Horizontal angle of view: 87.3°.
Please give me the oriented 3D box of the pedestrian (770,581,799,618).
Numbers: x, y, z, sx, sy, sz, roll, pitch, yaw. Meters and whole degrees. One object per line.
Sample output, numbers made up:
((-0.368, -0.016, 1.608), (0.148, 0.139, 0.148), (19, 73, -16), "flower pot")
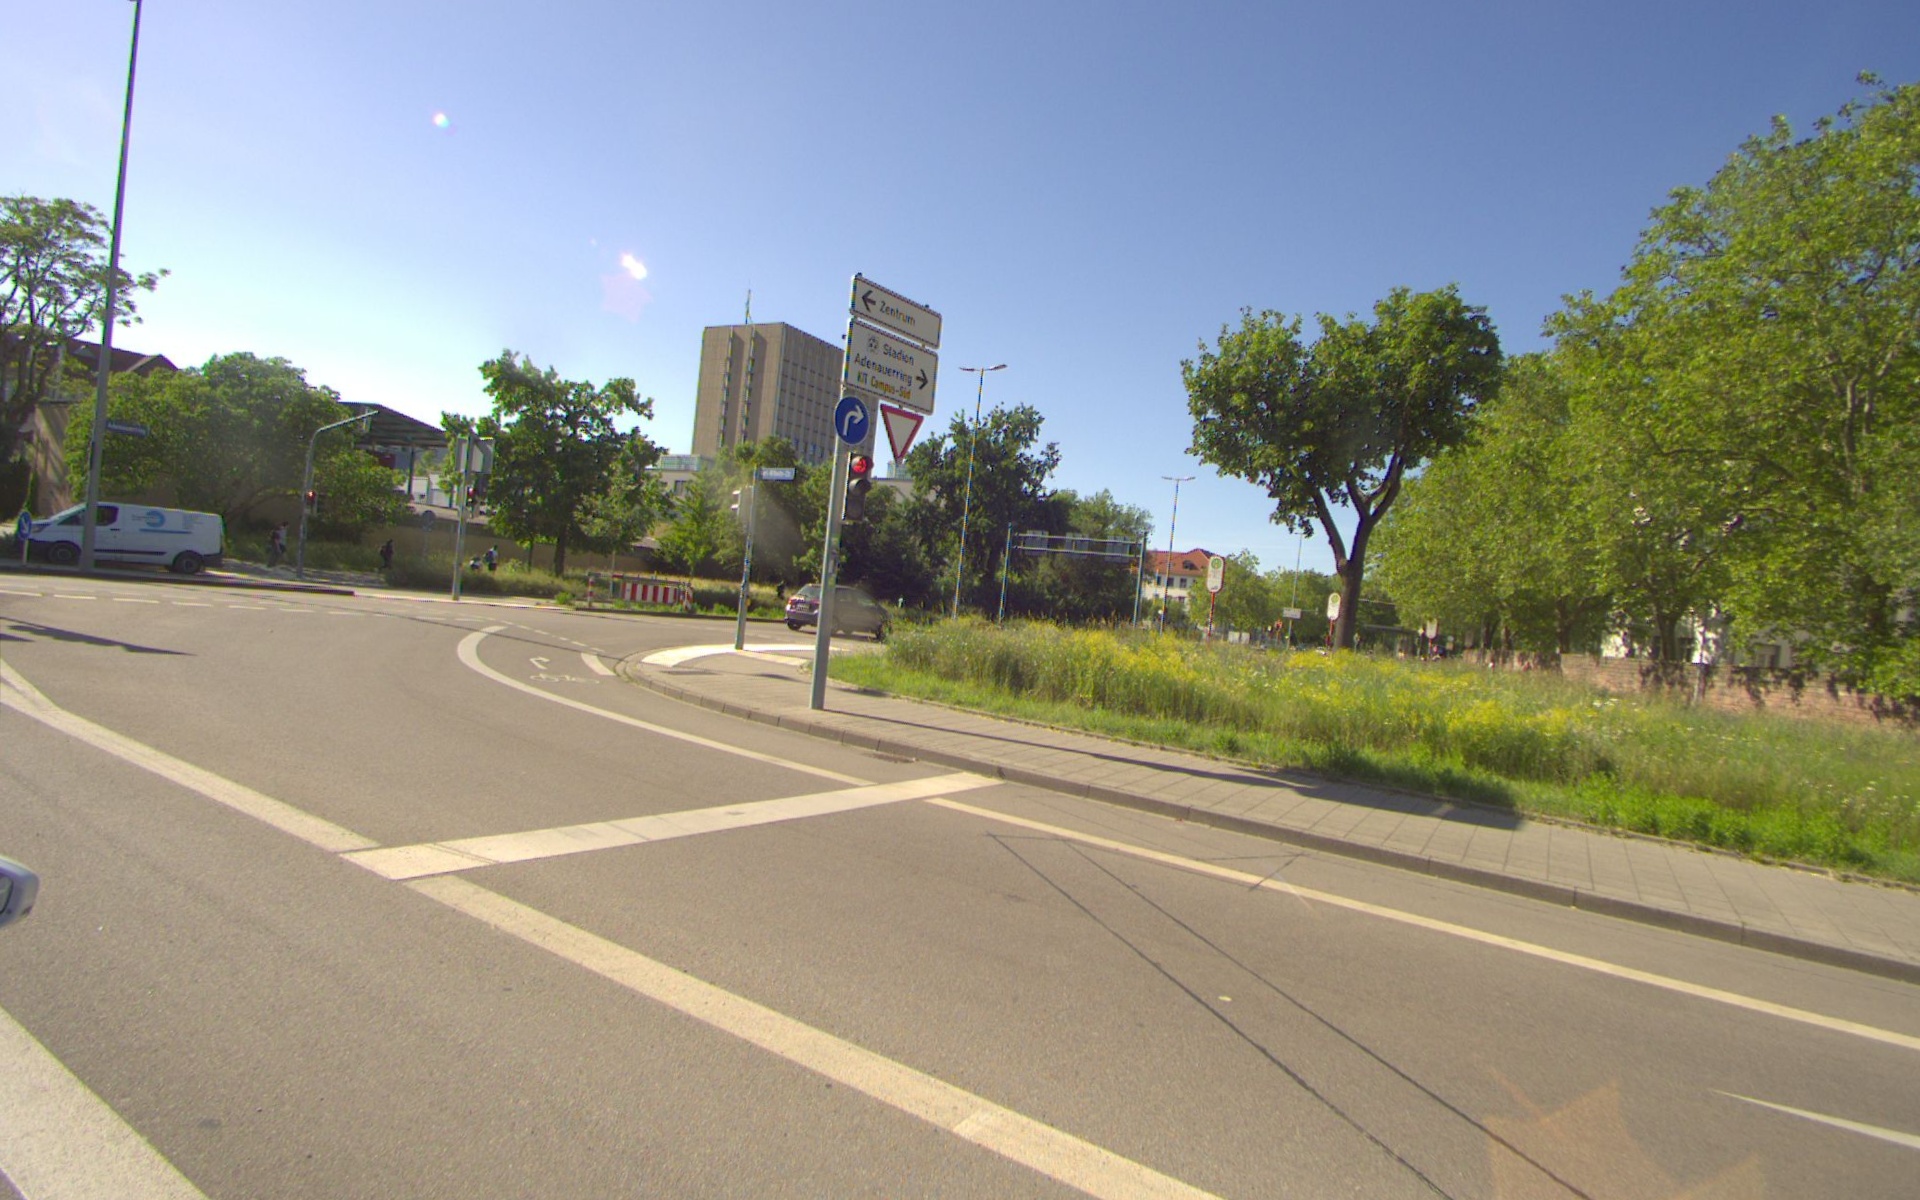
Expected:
((-10.585, -0.033, 60.532), (0.966, 2.106, 1.186), (7, 1, 35), "pedestrian")

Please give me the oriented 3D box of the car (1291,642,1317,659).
((40.848, 6.005, 119.324), (1.967, 1.666, 3.994), (6, -2, 32), "car")

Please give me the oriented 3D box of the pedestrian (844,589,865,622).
((-7.183, 0.397, 68.586), (0.800, 2.106, 0.896), (7, 1, 35), "pedestrian")

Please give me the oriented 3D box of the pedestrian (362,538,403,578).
((-24.616, -1.803, 42.904), (0.927, 1.540, 1.145), (7, 1, 38), "pedestrian")

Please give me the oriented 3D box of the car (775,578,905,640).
((-3.624, 0.320, 31.110), (1.714, 1.535, 3.990), (7, 0, 33), "car")

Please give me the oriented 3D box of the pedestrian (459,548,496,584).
((-22.457, -1.582, 46.815), (0.975, 1.540, 1.129), (7, 1, 35), "pedestrian")

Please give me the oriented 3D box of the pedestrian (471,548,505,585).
((-21.761, -1.555, 46.384), (0.871, 1.540, 0.971), (7, 1, 35), "pedestrian")

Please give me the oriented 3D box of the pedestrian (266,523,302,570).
((-27.121, -2.150, 40.331), (0.959, 1.754, 0.915), (6, 1, -42), "pedestrian")

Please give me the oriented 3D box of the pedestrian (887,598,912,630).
((-4.290, 0.969, 71.672), (1.065, 2.106, 1.231), (7, 1, 35), "pedestrian")

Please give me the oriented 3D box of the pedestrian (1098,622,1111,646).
((13.659, 3.187, 95.308), (0.633, 2.194, 0.912), (7, 1, 35), "pedestrian")

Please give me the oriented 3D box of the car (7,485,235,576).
((-25.341, -2.070, 30.553), (2.044, 2.038, 4.990), (7, 0, 42), "car")

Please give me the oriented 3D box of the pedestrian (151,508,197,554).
((-28.852, -2.533, 36.912), (0.917, 1.540, 1.083), (7, 1, 41), "pedestrian")

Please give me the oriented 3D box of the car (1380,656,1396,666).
((74.456, 10.644, 174.916), (1.967, 1.378, 4.001), (7, 0, 31), "car")

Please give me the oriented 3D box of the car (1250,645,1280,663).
((33.623, 5.933, 110.843), (1.881, 1.625, 4.128), (7, 0, 34), "car")

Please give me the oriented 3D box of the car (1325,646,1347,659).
((49.045, 6.911, 131.178), (1.967, 1.378, 4.001), (7, 0, 31), "car")

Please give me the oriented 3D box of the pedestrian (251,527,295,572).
((-26.142, -1.922, 38.282), (0.865, 1.540, 1.074), (7, 1, 36), "pedestrian")
